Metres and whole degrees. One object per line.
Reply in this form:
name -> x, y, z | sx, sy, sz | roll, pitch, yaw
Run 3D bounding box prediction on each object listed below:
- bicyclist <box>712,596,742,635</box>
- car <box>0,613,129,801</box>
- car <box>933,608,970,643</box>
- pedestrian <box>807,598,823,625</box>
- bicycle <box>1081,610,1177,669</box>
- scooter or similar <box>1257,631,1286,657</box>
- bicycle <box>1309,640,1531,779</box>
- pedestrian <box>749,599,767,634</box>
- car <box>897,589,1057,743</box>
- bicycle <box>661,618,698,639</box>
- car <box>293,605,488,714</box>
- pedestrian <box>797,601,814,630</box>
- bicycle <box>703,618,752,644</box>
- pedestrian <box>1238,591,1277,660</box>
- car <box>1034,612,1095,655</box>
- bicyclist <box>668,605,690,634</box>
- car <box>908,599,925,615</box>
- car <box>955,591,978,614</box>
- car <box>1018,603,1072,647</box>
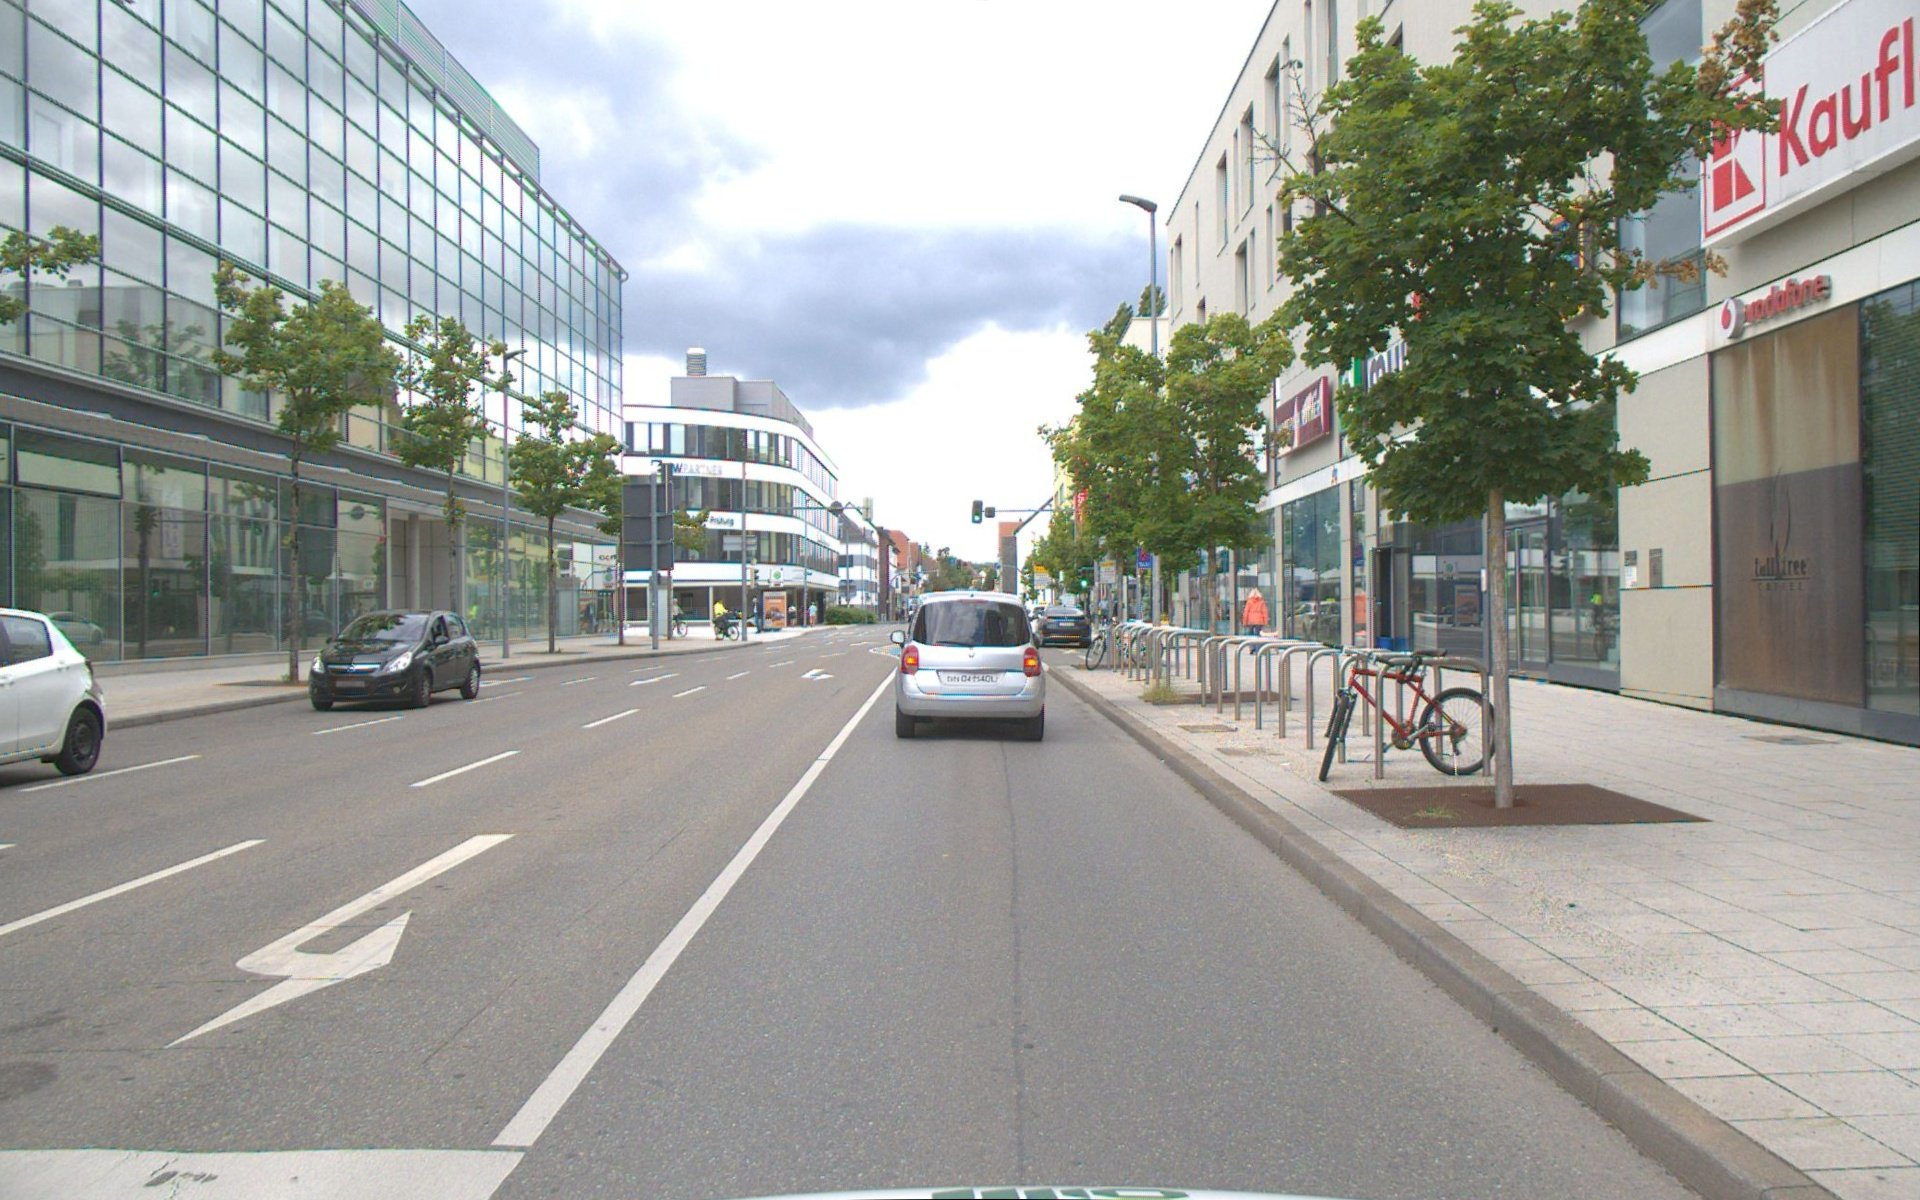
bicyclist -> -10.085, 0.669, 71.640 | 0.995, 1.689, 0.923 | 2, -1, -31
car -> -8.567, 0.893, 13.387 | 1.626, 1.491, 4.000 | -2, 0, 0
car -> -0.425, 1.219, 80.005 | 1.636, 1.581, 3.640 | 1, 0, -3
pedestrian -> -10.045, 0.801, 114.545 | 0.941, 1.865, 1.250 | -1, 0, 0
bicycle -> 3.337, 0.772, 32.817 | 1.788, 1.093, 0.752 | -2, 0, -2
scooter or similar -> 7.400, 1.042, 39.266 | 0.539, 0.555, 0.642 | -4, 0, 0
bicycle -> 3.545, 0.837, 12.856 | 1.528, 1.010, 0.753 | -1, 0, 3
pedestrian -> -11.031, 0.900, 90.212 | 0.942, 1.865, 1.248 | -1, 0, -7
car -> 0.116, 0.690, 19.150 | 1.636, 1.581, 3.640 | 1, 0, -2
bicycle -> -13.122, 1.325, 77.321 | 0.819, 0.914, 2.497 | -1, 0, -32
car -> -8.777, 0.862, 25.840 | 1.626, 1.506, 4.000 | -2, 0, 0
pedestrian -> -10.239, 1.018, 109.734 | 0.941, 1.865, 1.250 | -1, 0, 0
bicycle -> -10.097, 1.324, 71.620 | 0.995, 1.036, 3.098 | 2, -1, -30
pedestrian -> 7.208, 0.613, 40.069 | 0.696, 1.602, 0.812 | -4, 0, 0
car -> 3.590, 1.120, 57.139 | 1.839, 1.358, 4.000 | 2, 0, 0
bicyclist -> -13.126, 0.893, 77.327 | 0.819, 1.350, 0.644 | 0, 0, -33
car -> -5.676, 0.941, 216.804 | 2.125, 2.049, 4.258 | -1, 0, 0
car -> 0.638, 0.213, 155.045 | 2.125, 2.049, 4.258 | -1, 0, 0
car -> 3.234, 0.931, 63.396 | 1.839, 1.535, 4.000 | 2, 0, 0
